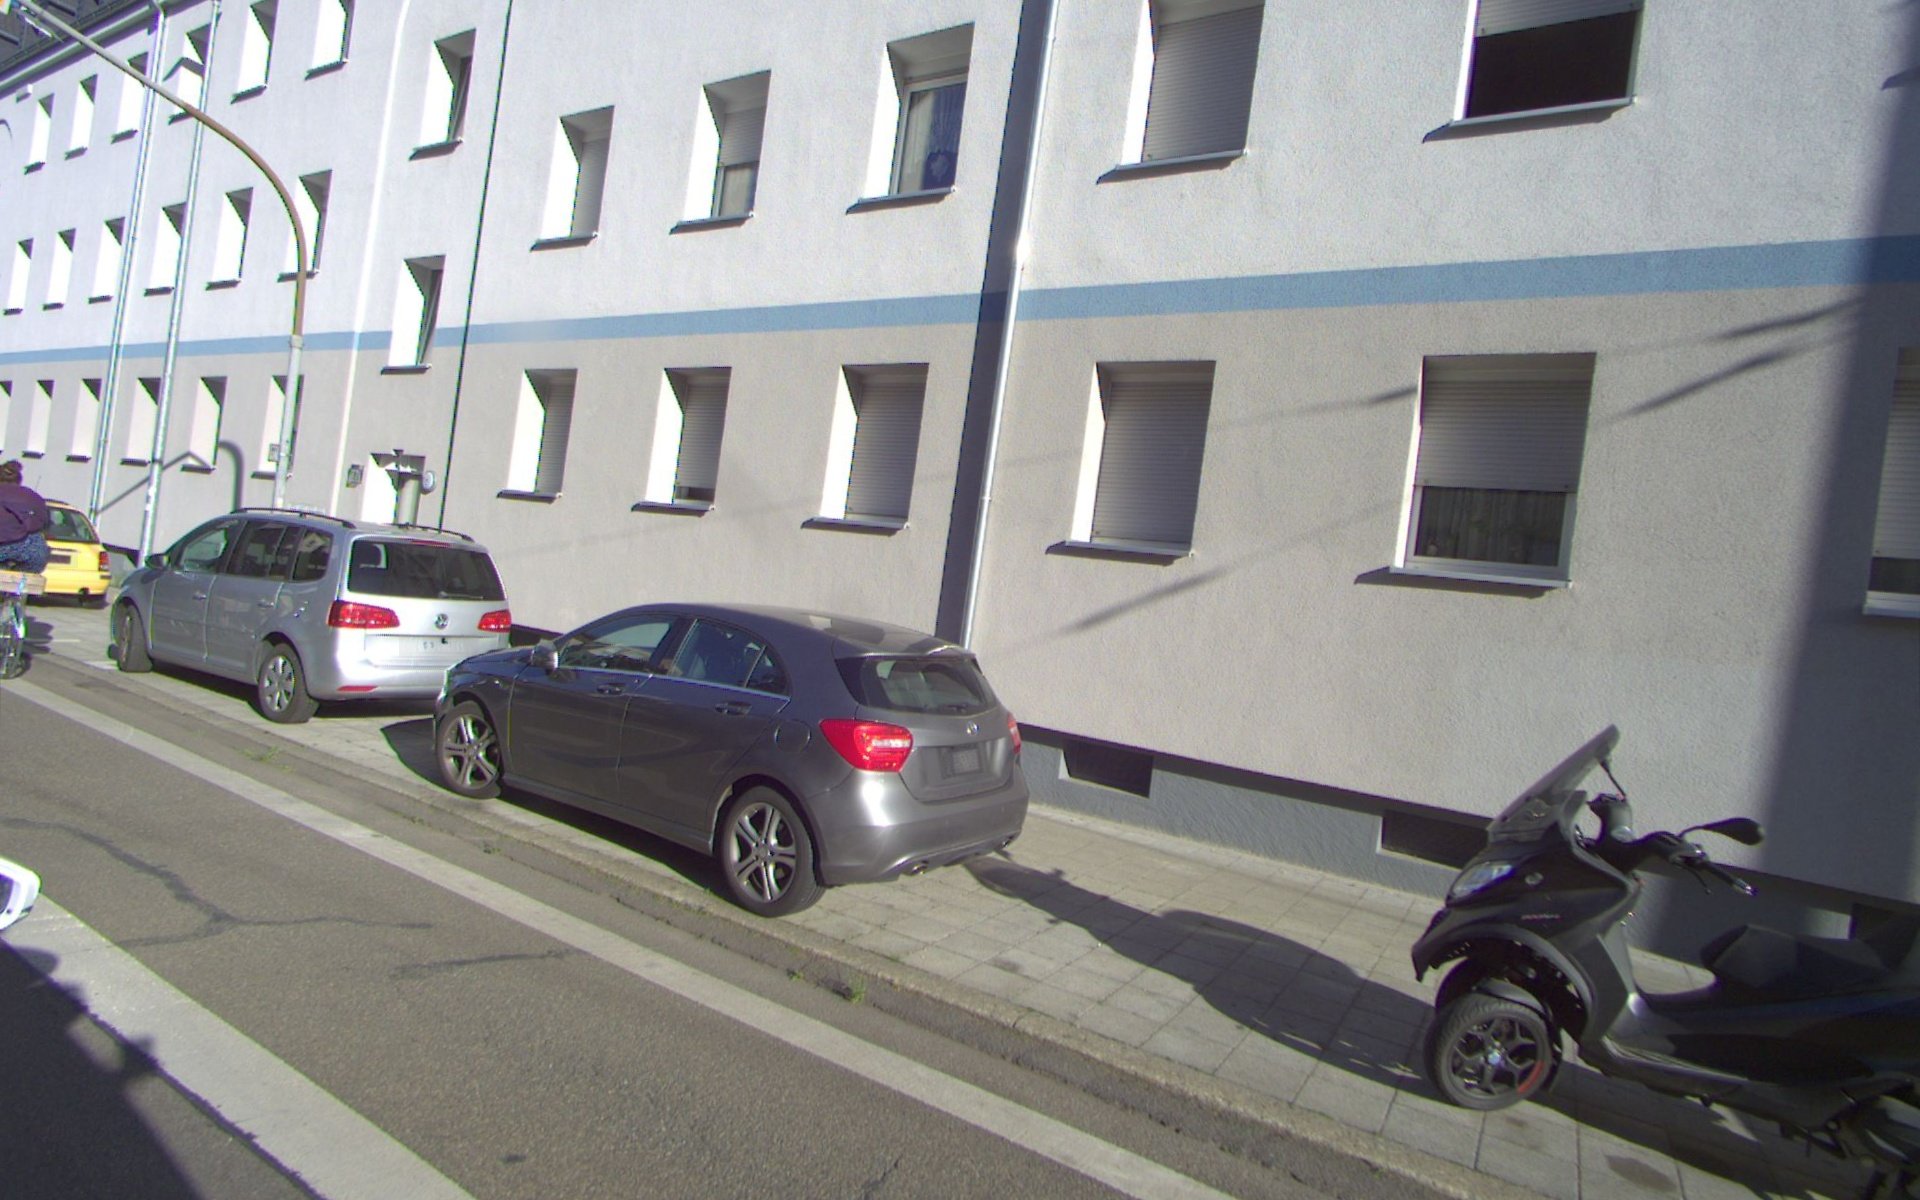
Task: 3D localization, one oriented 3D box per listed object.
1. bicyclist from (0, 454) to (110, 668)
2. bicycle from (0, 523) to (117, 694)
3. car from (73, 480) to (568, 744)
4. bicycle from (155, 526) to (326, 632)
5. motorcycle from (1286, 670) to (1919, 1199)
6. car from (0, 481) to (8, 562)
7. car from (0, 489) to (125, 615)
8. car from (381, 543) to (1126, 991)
[{"bbox_3d":[-8.037,-0.353,8.467,0.953,1.696,0.936,8,0,31],"label":"bicyclist"},{"bbox_3d":[-8.331,-0.022,8.623,2.421,1.250,0.823,7,-2,31],"label":"bicycle"},{"bbox_3d":[-5.935,0.012,9.203,4.546,1.686,1.757,7,1,29],"label":"car"},{"bbox_3d":[-10.518,-0.310,14.703,2.288,1.212,1.098,7,-1,30],"label":"bicycle"},{"bbox_3d":[2.700,1.207,3.581,2.663,1.541,0.806,7,2,31],"label":"motorcycle"},{"bbox_3d":[-16.911,-1.306,15.802,4.434,1.591,1.681,7,1,32],"label":"car"},{"bbox_3d":[-13.244,-0.783,13.734,4.131,1.449,1.515,7,1,31],"label":"car"},{"bbox_3d":[-1.421,0.700,6.178,4.295,1.574,1.865,7,1,33],"label":"car"}]
